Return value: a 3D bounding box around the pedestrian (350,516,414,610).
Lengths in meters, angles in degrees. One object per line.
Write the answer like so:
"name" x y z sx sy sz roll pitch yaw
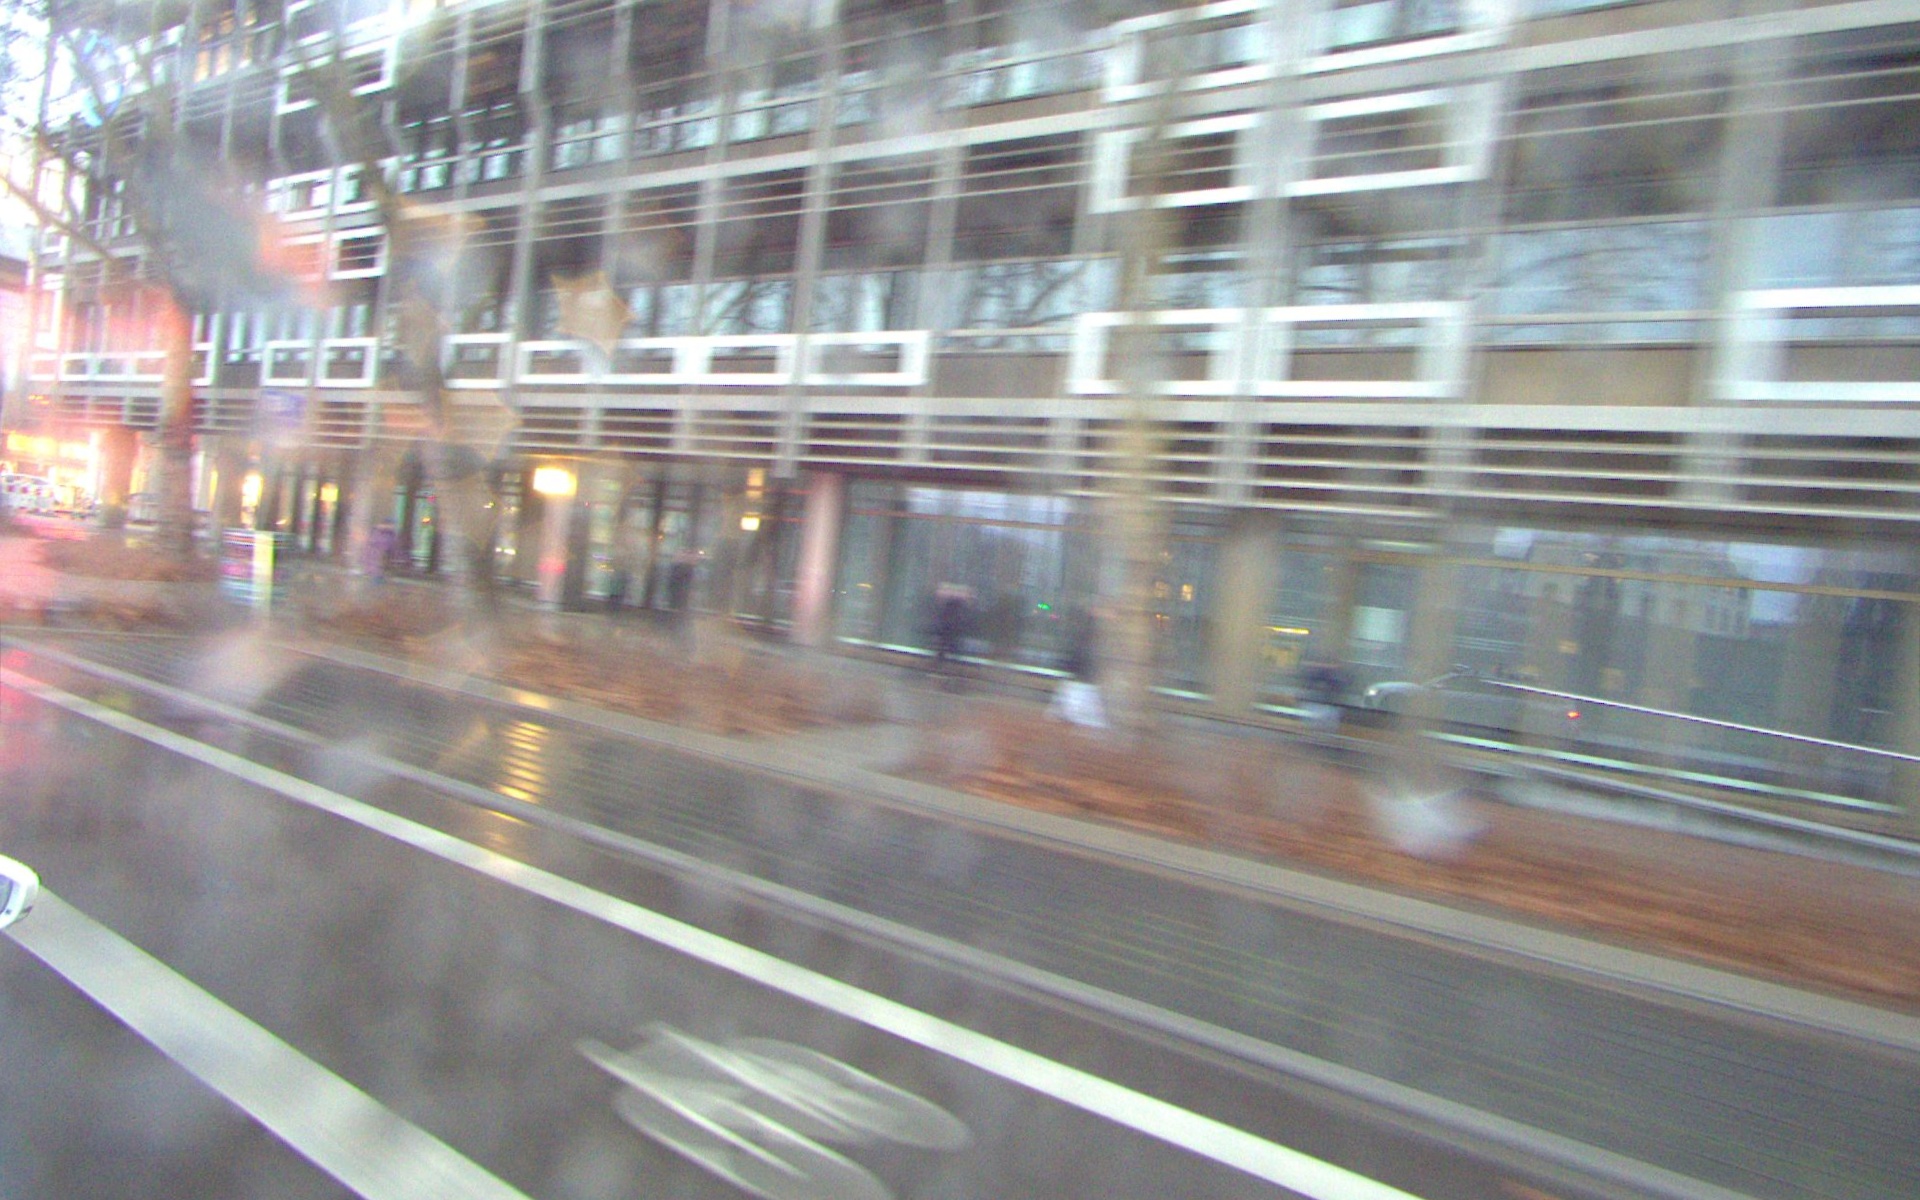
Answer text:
"pedestrian" -10.345 -0.659 18.008 0.605 1.564 0.648 8 1 33

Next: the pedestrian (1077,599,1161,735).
"pedestrian" 1.997 0.835 12.629 0.733 1.584 0.484 7 1 31

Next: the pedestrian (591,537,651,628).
"pedestrian" -6.680 -0.348 19.815 0.767 1.677 0.616 8 1 32

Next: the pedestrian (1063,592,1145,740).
"pedestrian" 1.743 0.793 12.194 0.702 1.689 0.378 7 1 33

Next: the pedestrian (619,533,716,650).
"pedestrian" -4.212 -0.116 14.516 0.824 1.543 0.864 7 1 33

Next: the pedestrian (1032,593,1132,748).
"pedestrian" 1.432 0.817 11.830 0.859 1.689 0.500 7 1 33

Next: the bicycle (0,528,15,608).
"bicycle" -12.770 -0.461 12.180 0.607 0.986 1.789 7 1 28

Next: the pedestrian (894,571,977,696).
"pedestrian" -0.367 0.495 15.039 0.828 1.740 0.660 7 1 27

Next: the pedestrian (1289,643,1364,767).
"pedestrian" 4.554 1.286 12.517 0.702 1.407 0.564 7 1 20

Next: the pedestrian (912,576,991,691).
"pedestrian" -0.130 0.520 15.642 0.828 1.675 0.641 7 1 27

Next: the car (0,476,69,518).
"car" -49.465 -5.512 52.309 1.680 1.783 4.304 8 0 35
